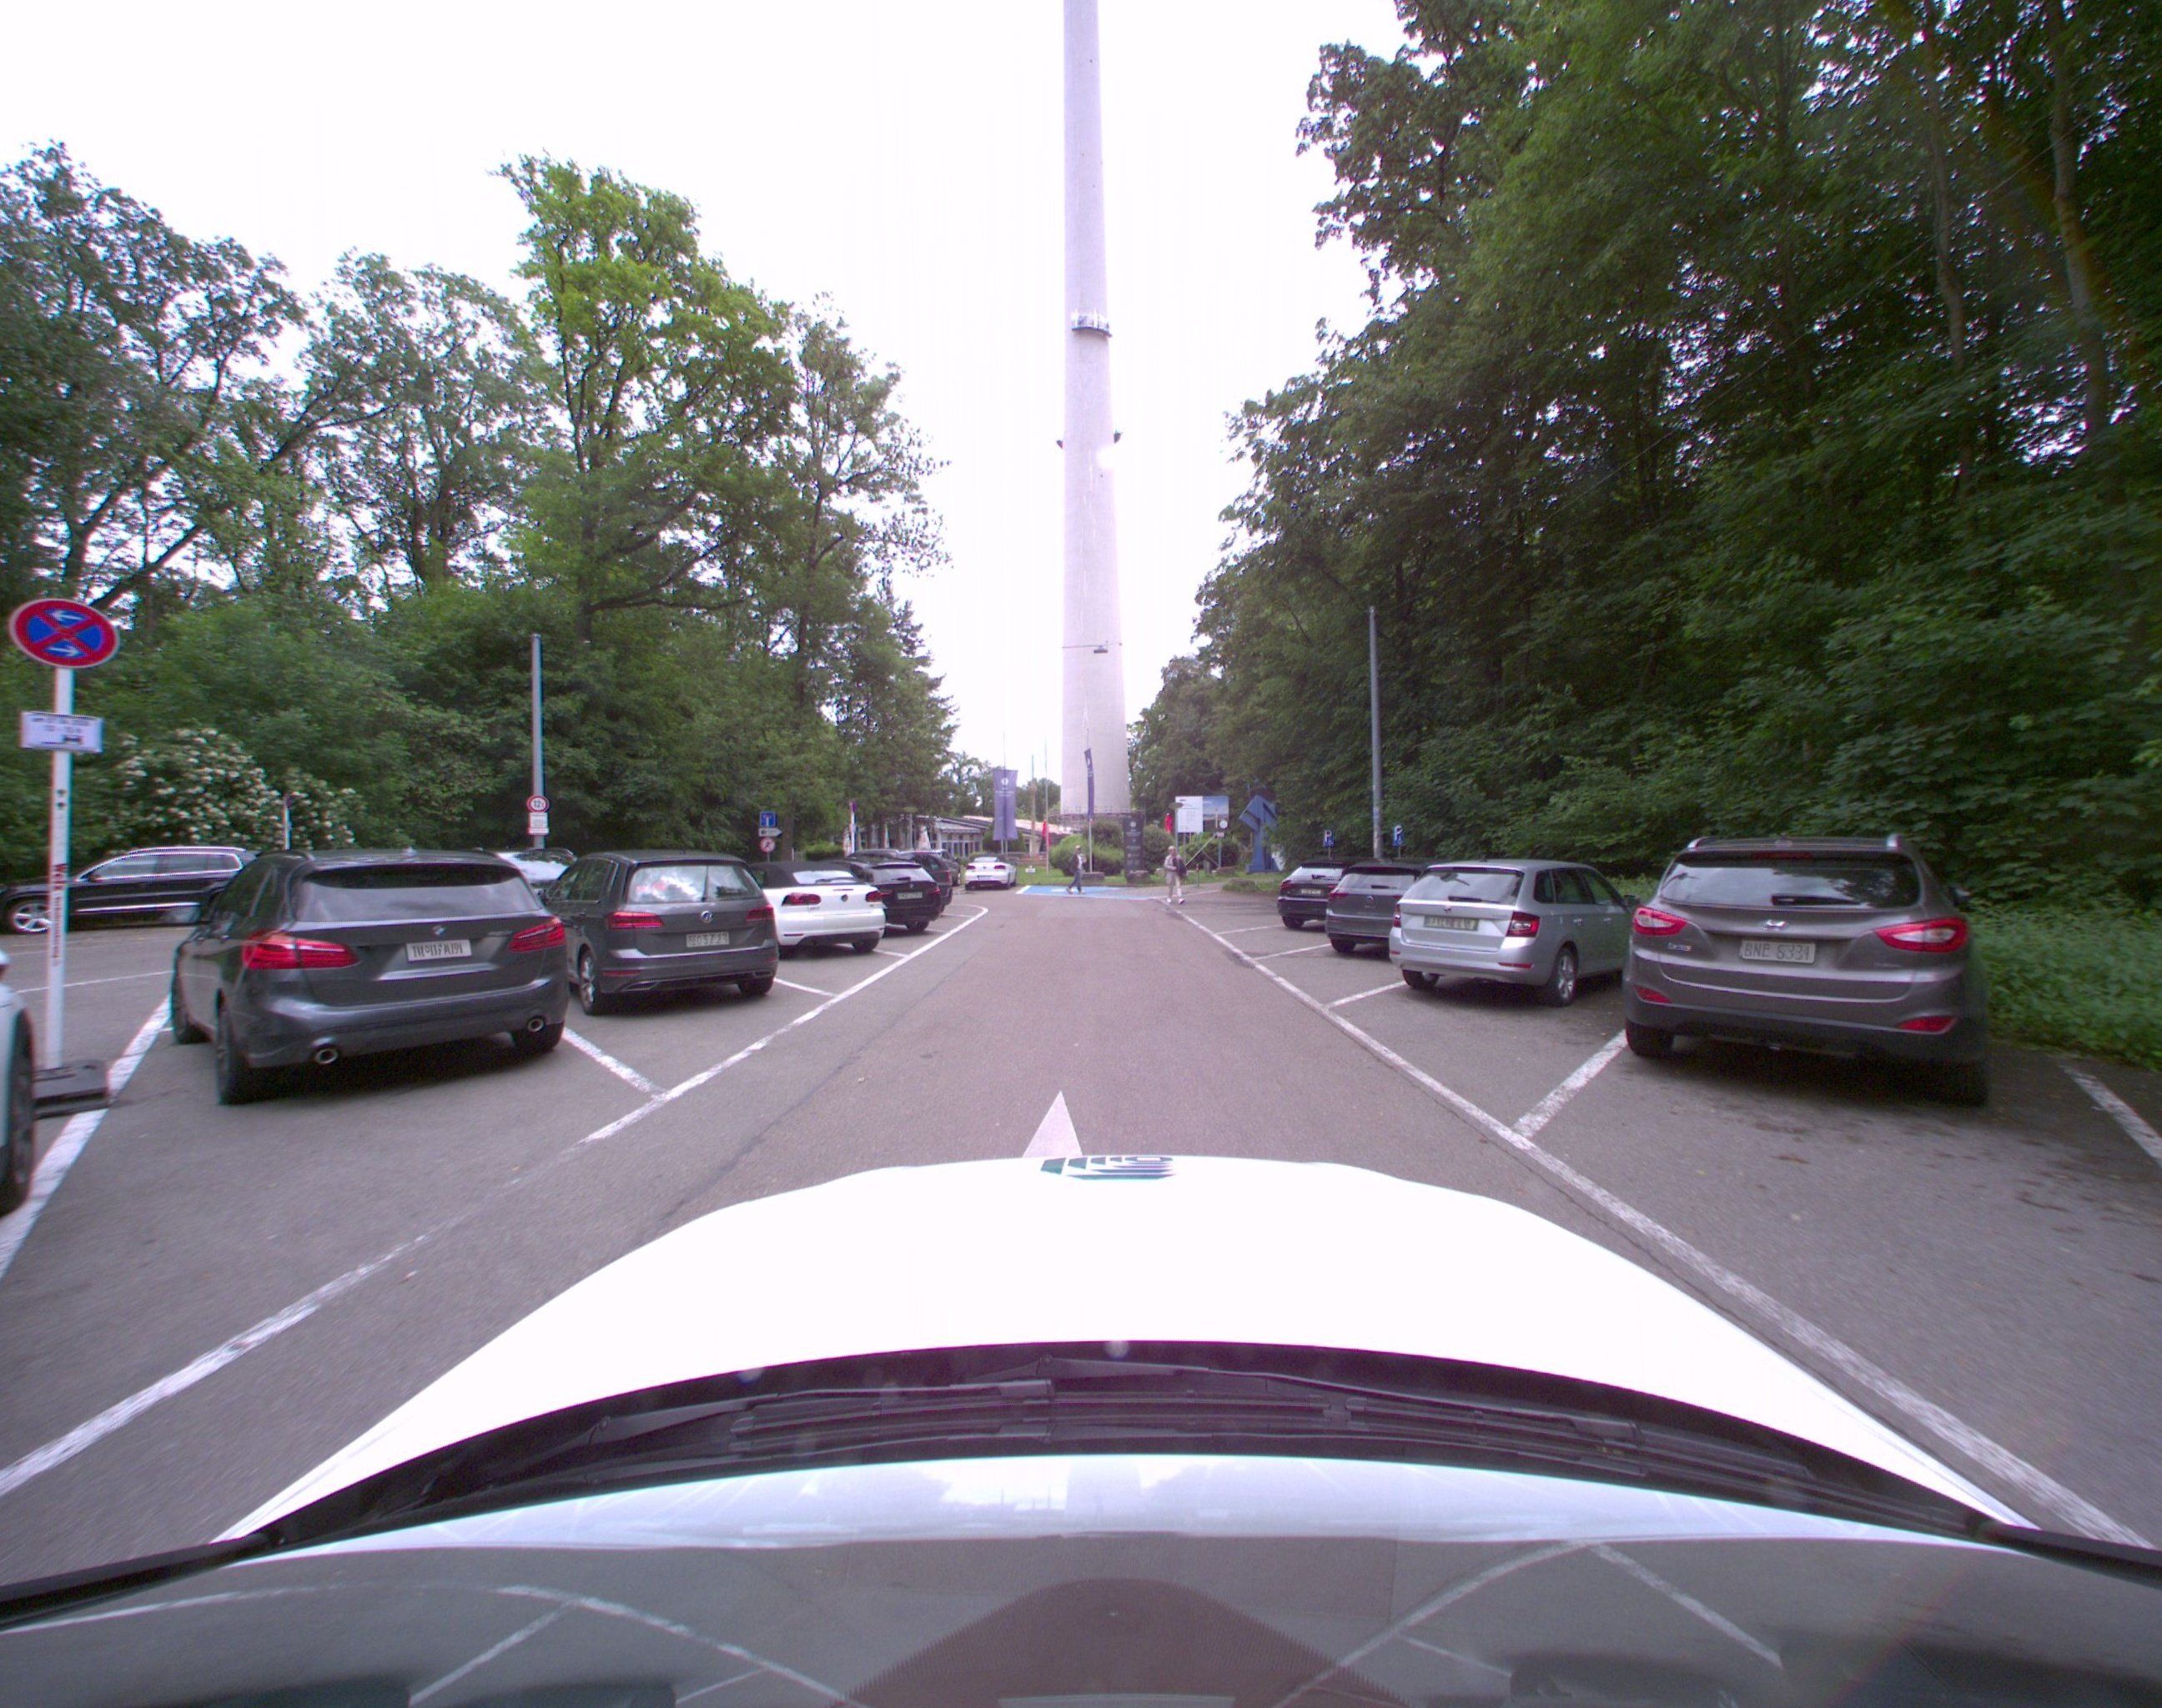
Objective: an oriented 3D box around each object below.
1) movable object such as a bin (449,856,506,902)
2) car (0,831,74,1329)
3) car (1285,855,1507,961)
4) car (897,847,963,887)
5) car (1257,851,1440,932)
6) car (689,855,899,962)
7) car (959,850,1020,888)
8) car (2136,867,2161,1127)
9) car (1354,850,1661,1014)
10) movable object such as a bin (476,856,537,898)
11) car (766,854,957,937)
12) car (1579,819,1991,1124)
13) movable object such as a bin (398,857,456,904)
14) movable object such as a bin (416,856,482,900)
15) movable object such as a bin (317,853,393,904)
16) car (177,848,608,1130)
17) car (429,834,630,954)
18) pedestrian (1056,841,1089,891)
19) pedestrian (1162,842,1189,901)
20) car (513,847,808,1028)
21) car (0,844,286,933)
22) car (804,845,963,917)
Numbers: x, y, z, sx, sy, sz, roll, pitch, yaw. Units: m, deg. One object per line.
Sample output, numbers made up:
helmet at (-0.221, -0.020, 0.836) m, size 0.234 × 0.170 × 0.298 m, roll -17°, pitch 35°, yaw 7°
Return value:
movable object such as a bin at (-17.985, 0.727, 24.309) m, size 1.176 × 1.307 × 1.301 m, roll 0°, pitch 0°, yaw -29°
car at (-4.119, 0.734, 1.944) m, size 4.137 × 1.596 × 1.858 m, roll 0°, pitch 1°, yaw 43°
car at (5.211, 0.734, 13.203) m, size 4.023 × 1.422 × 1.886 m, roll 0°, pitch 0°, yaw -45°
car at (-6.231, 0.489, 34.096) m, size 1.886 × 1.585 × 4.002 m, roll 0°, pitch 0°, yaw 2°
car at (5.658, 0.677, 16.946) m, size 4.229 × 1.462 × 1.876 m, roll 0°, pitch 0°, yaw -44°
car at (-4.738, 0.754, 13.162) m, size 1.783 × 1.443 × 3.799 m, roll 0°, pitch 0°, yaw -44°
car at (-3.677, 0.578, 33.324) m, size 1.886 × 1.428 × 4.002 m, roll 0°, pitch 0°, yaw 2°
car at (5.329, 0.776, 2.475) m, size 1.941 × 1.377 × 4.288 m, roll 0°, pitch 0°, yaw 43°
car at (5.090, 0.714, 9.498) m, size 4.021 × 1.467 × 1.814 m, roll -1°, pitch 1°, yaw -40°
movable object such as a bin at (-18.722, 0.733, 26.585) m, size 1.254 × 1.325 × 1.142 m, roll 0°, pitch 0°, yaw -12°
car at (-4.500, 0.728, 16.356) m, size 4.225 × 1.443 × 1.770 m, roll 0°, pitch 0°, yaw 44°
car at (5.735, 0.619, 6.574) m, size 4.287 × 1.636 × 1.941 m, roll 0°, pitch 0°, yaw -44°
movable object such as a bin at (-19.053, 0.744, 23.757) m, size 1.130 × 1.314 × 1.173 m, roll 0°, pitch 0°, yaw -29°
movable object such as a bin at (-19.825, 0.743, 25.568) m, size 1.121 × 1.320 × 1.238 m, roll 0°, pitch 0°, yaw -4°
movable object such as a bin at (-20.587, 0.675, 23.117) m, size 1.118 × 1.425 × 1.132 m, roll 0°, pitch 0°, yaw 4°
car at (-5.615, 0.742, 6.487) m, size 3.948 × 1.554 × 1.885 m, roll 0°, pitch 0°, yaw 39°
car at (-9.118, 0.556, 13.345) m, size 3.950 × 1.663 × 1.910 m, roll 0°, pitch 0°, yaw 43°
pedestrian at (-0.290, 0.415, 28.963) m, size 0.885 × 1.725 × 0.769 m, roll 0°, pitch 0°, yaw 35°
pedestrian at (2.807, 0.501, 24.248) m, size 0.759 × 1.725 × 0.897 m, roll 0°, pitch 0°, yaw 2°
car at (-4.888, 0.718, 9.213) m, size 1.858 × 1.587 × 3.928 m, roll -1°, pitch 1°, yaw -45°
car at (-19.774, 0.638, 17.294) m, size 4.094 × 1.685 × 1.857 m, roll 0°, pitch 0°, yaw -43°
car at (-5.007, 0.599, 20.351) m, size 4.333 × 1.608 × 1.840 m, roll 0°, pitch 0°, yaw 44°
